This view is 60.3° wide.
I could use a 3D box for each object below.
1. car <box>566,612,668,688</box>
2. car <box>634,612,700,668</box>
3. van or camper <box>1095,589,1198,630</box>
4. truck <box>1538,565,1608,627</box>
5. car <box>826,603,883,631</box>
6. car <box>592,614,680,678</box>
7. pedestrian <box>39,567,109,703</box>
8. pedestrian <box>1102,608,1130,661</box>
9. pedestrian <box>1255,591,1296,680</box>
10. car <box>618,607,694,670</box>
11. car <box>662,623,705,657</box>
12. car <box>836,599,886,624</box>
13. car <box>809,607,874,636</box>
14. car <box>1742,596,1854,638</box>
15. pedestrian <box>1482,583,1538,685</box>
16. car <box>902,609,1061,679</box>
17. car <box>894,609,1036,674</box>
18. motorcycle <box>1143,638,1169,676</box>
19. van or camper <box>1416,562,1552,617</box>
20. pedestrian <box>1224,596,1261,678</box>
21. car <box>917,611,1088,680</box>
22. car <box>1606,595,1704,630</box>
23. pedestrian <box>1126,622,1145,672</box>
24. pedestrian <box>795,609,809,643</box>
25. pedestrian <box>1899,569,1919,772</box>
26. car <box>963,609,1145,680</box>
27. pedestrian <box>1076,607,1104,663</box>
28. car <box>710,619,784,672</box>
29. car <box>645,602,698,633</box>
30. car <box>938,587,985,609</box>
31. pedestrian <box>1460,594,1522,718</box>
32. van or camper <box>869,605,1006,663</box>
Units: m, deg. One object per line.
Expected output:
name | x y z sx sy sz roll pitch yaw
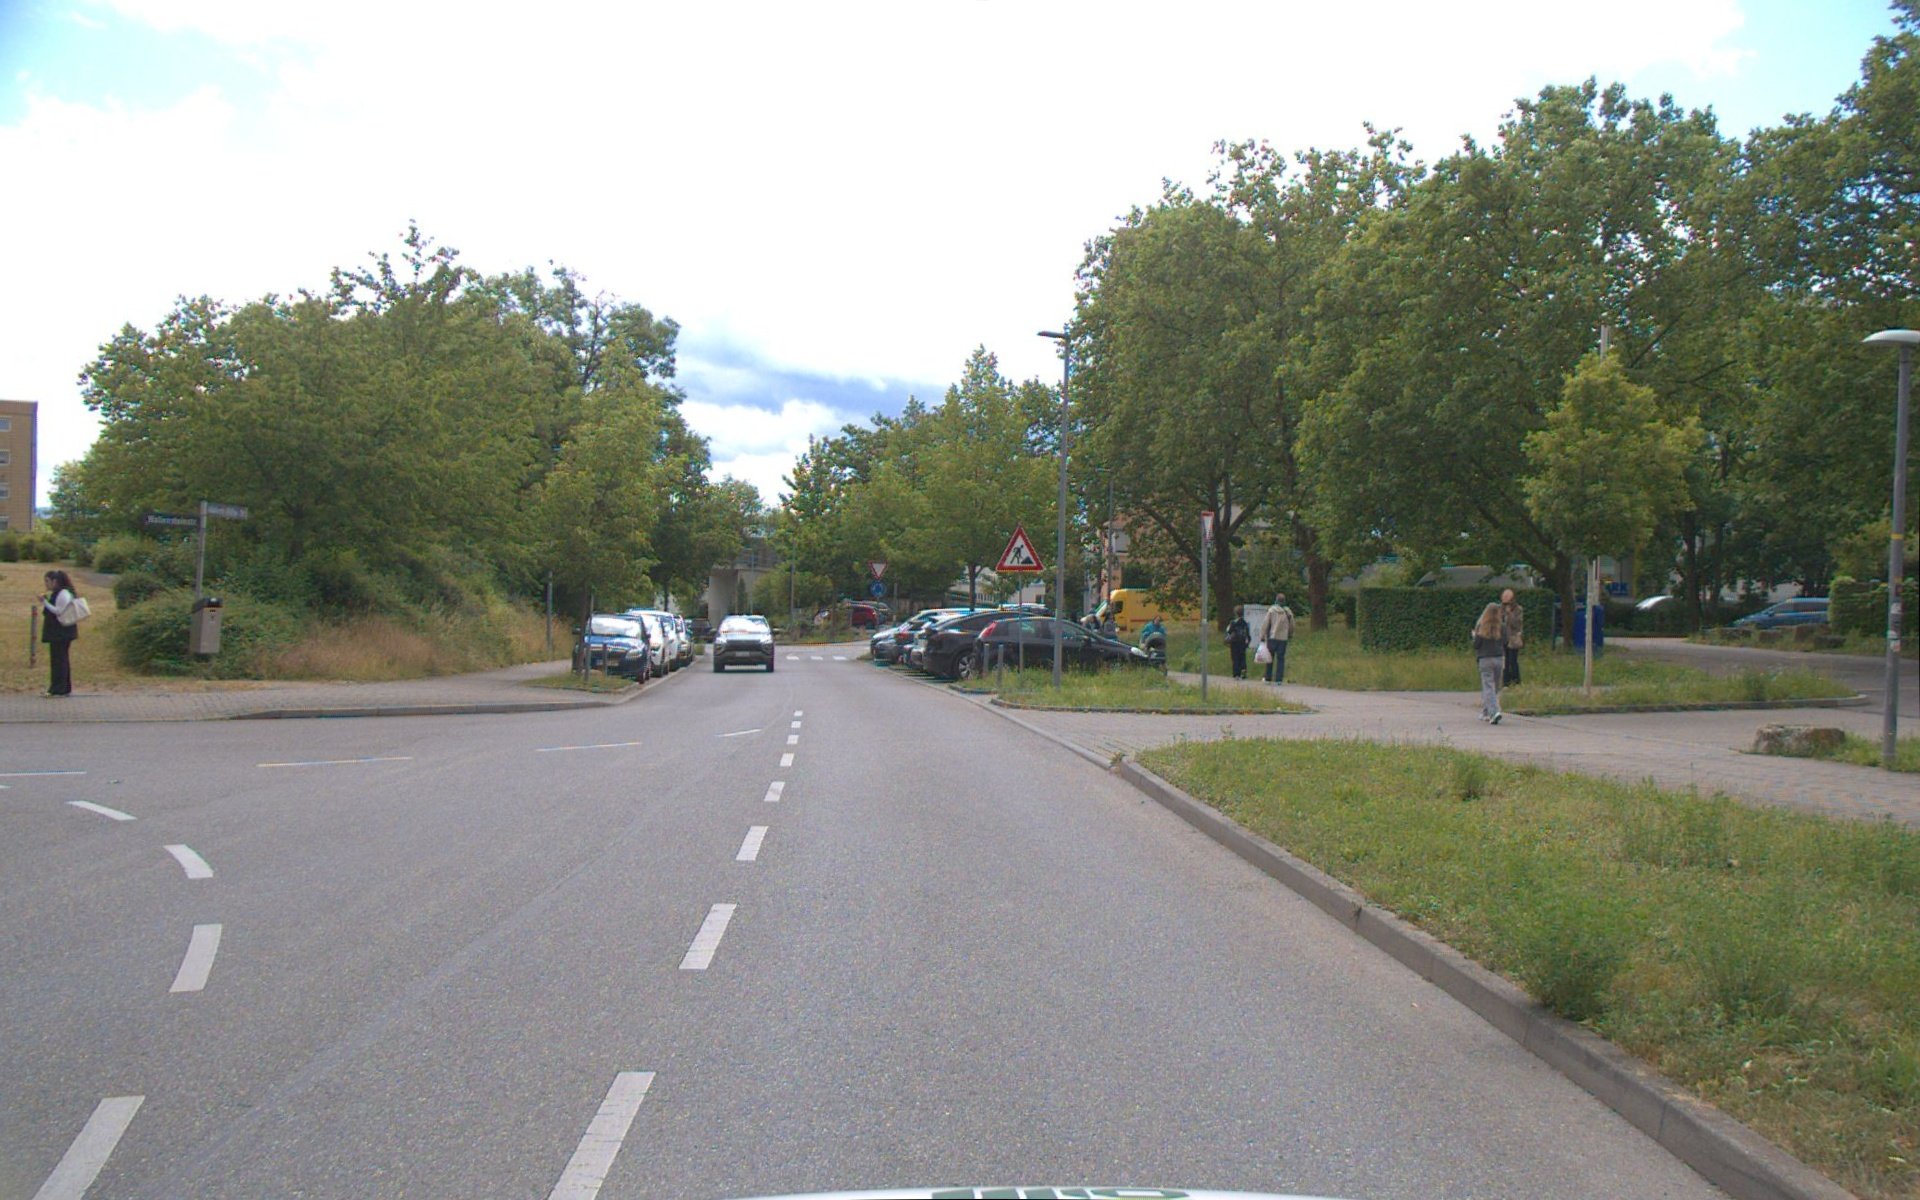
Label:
car | -7.739 1.093 37.590 1.731 1.526 3.932 0 1 -4
car | -9.540 1.276 54.067 1.703 1.740 4.078 0 0 -4
van or camper | 9.990 0.493 88.736 5.190 2.077 2.059 0 2 -6
truck | 24.777 -0.229 67.074 2.277 2.335 5.899 2 2 17
car | -6.634 1.061 103.902 3.474 1.683 1.618 1 0 -9
car | -8.288 1.146 42.576 1.731 1.526 3.932 0 0 -4
pedestrian | -11.852 0.449 22.135 0.811 1.752 0.770 0 2 -28
pedestrian | 4.361 0.966 46.241 0.676 1.449 0.753 1 0 -1
pedestrian | 6.469 0.714 33.909 0.784 1.752 0.824 1 2 11
car | -8.846 1.127 48.412 1.731 1.783 3.931 0 -1 -4
car | -11.578 1.666 69.420 1.706 1.349 3.806 0 0 -9
car | -7.113 0.811 118.928 3.467 1.683 1.622 1 0 2
car | -6.936 1.254 96.705 3.489 1.591 1.611 2 0 -21
car | 33.615 0.659 66.457 3.843 1.526 1.771 1 2 23
pedestrian | 9.689 0.585 29.114 0.760 1.724 0.822 2 2 29
car | 0.518 1.097 40.949 3.842 1.659 1.771 0 -2 -1
car | 0.129 1.145 46.030 3.842 1.658 1.772 0 2 -1
motorcycle | 4.662 1.342 39.394 0.443 0.808 1.263 0 2 -1
van or camper | 19.608 -0.430 61.929 4.584 1.947 1.769 2 2 29
pedestrian | 6.269 0.809 36.754 0.758 1.752 0.824 1 2 8
car | 0.950 1.069 38.230 3.842 1.527 1.771 0 -2 -1
car | 32.743 0.576 77.996 3.842 1.526 1.772 0 2 -1
pedestrian | 4.223 1.130 39.807 0.387 1.172 0.485 1 2 -1
pedestrian | -8.931 1.477 93.435 0.708 1.897 0.649 0 2 -12
pedestrian | 8.741 0.622 14.218 0.762 1.752 0.819 0 2 -18
car | 2.005 0.976 36.016 3.842 1.494 1.771 0 -2 -1
pedestrian | 3.617 0.963 46.199 0.676 1.530 0.753 1 0 -1
car | -6.320 1.329 49.393 1.935 1.489 3.931 0 0 -4
car | -13.312 0.810 76.262 1.193 1.360 2.567 1 0 -41
car | 0.101 -0.153 133.723 3.489 1.683 1.611 1 0 -21
pedestrian | 7.293 0.751 22.744 0.758 1.624 0.824 1 2 17
van or camper | -0.813 1.164 57.469 4.584 1.902 1.769 0 2 -8
